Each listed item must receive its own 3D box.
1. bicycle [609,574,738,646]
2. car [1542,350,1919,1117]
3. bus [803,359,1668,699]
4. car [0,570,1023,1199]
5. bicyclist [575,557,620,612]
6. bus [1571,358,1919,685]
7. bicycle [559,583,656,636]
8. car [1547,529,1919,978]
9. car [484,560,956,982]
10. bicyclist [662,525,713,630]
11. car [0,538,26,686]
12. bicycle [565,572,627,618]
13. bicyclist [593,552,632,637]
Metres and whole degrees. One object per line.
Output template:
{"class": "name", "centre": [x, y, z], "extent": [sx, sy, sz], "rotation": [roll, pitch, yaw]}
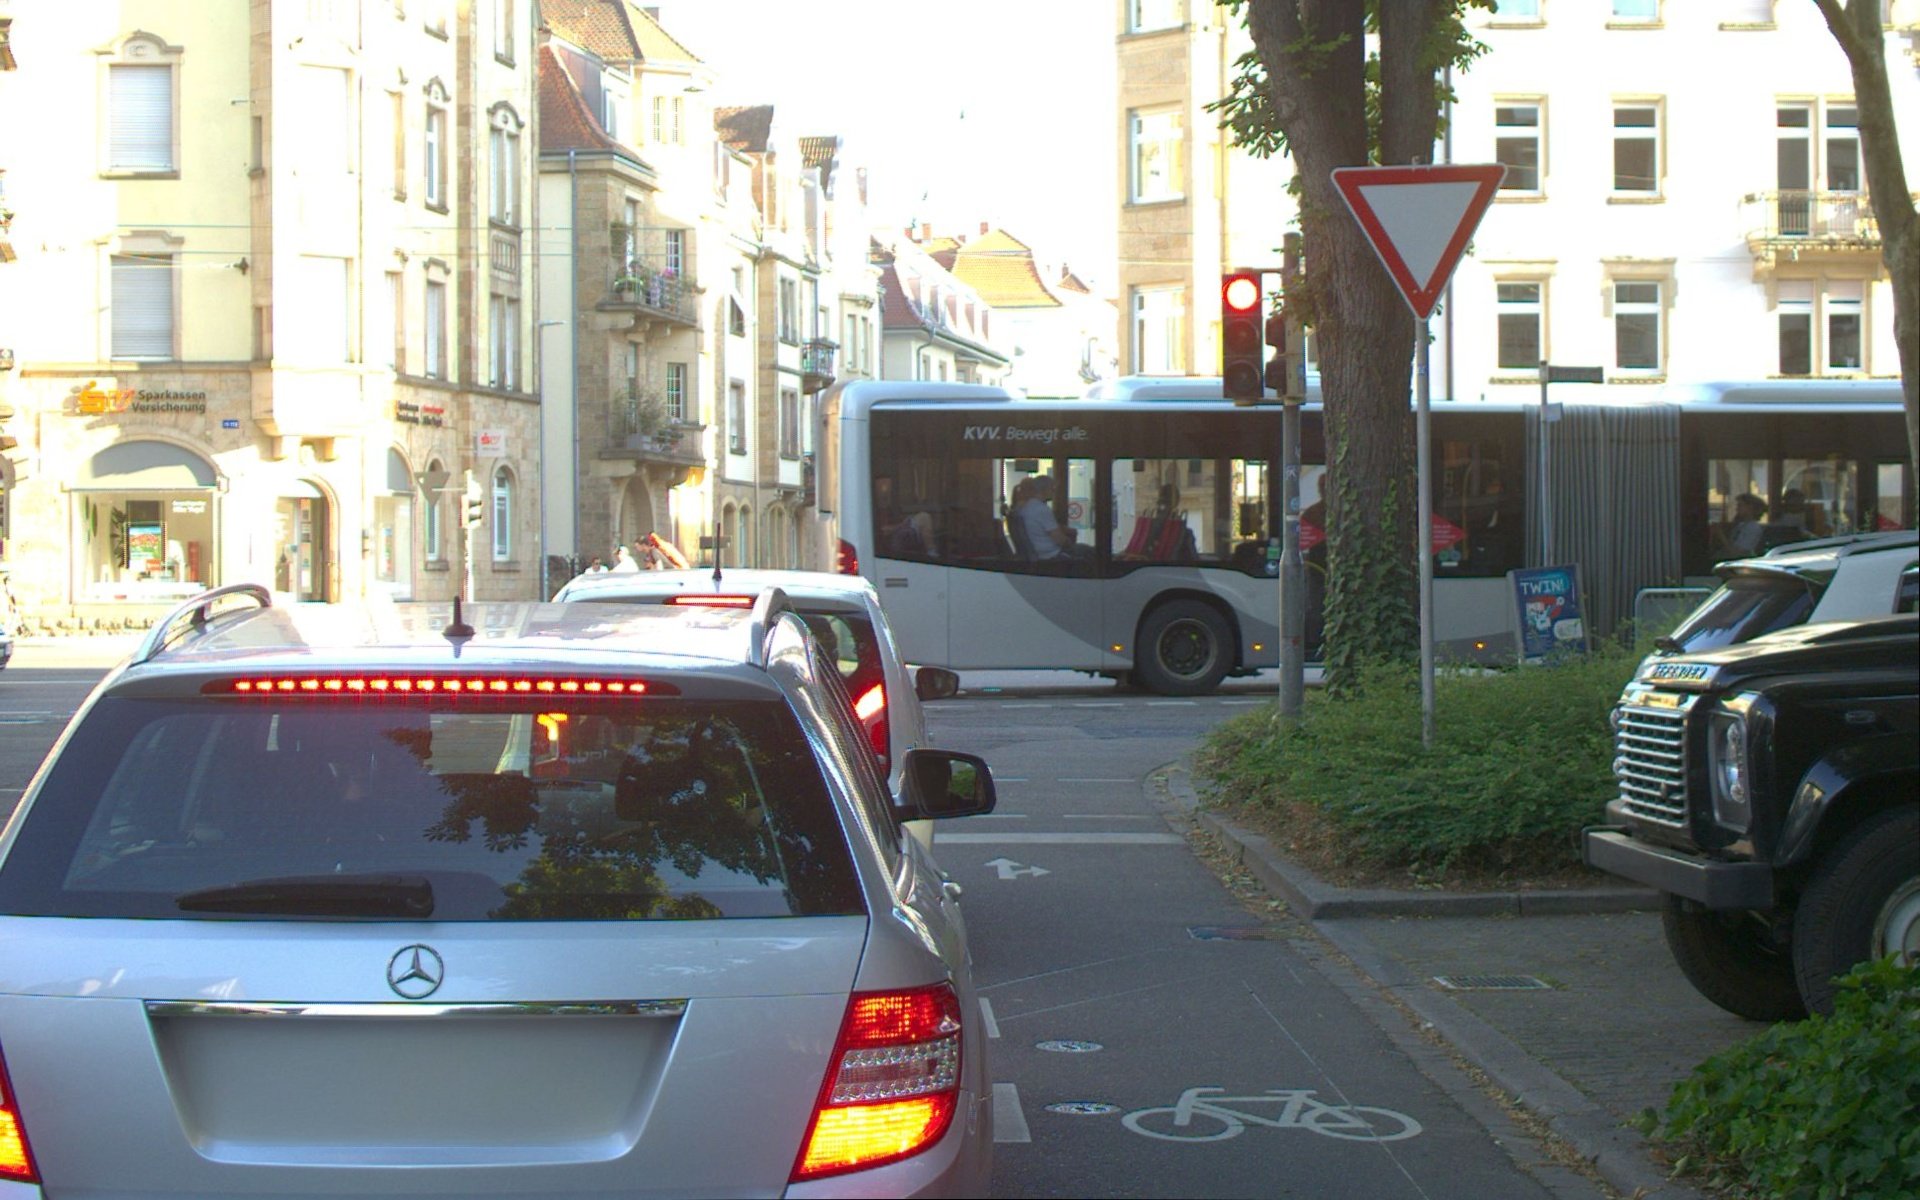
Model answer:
{"class": "bicycle", "centre": [-5.069, 0.174, 60.851], "extent": [2.256, 1.242, 0.637], "rotation": [0, 1, -5]}
{"class": "car", "centre": [4.138, 0.302, 10.130], "extent": [4.465, 2.029, 1.701], "rotation": [-1, 0, -3]}
{"class": "bus", "centre": [2.656, -0.735, 34.454], "extent": [8.173, 3.190, 2.912], "rotation": [-1, 1, -8]}
{"class": "car", "centre": [-0.895, 0.679, 6.969], "extent": [1.777, 1.447, 4.548], "rotation": [0, 1, -2]}
{"class": "bicyclist", "centre": [-7.745, -0.337, 73.469], "extent": [0.771, 1.152, 0.752], "rotation": [1, 1, 11]}
{"class": "bus", "centre": [11.877, -0.855, 35.773], "extent": [10.450, 3.190, 2.912], "rotation": [-1, 1, -8]}
{"class": "bicycle", "centre": [-5.944, 0.163, 58.004], "extent": [1.617, 0.873, 0.637], "rotation": [0, 1, -5]}
{"class": "car", "centre": [4.293, 0.502, 13.099], "extent": [3.723, 1.564, 1.709], "rotation": [-1, 0, -4]}
{"class": "car", "centre": [-0.911, 0.569, 14.059], "extent": [1.619, 1.442, 4.345], "rotation": [0, 1, -2]}
{"class": "bicyclist", "centre": [-4.818, -0.399, 60.860], "extent": [0.891, 1.853, 0.637], "rotation": [0, 1, -5]}
{"class": "car", "centre": [-11.922, 0.121, 35.190], "extent": [4.344, 1.491, 1.662], "rotation": [0, 1, -7]}
{"class": "bicycle", "centre": [-7.764, -0.115, 73.394], "extent": [0.771, 0.936, 1.939], "rotation": [1, 1, 11]}
{"class": "bicyclist", "centre": [-5.854, -0.096, 58.013], "extent": [0.643, 1.421, 0.637], "rotation": [0, 1, -5]}
